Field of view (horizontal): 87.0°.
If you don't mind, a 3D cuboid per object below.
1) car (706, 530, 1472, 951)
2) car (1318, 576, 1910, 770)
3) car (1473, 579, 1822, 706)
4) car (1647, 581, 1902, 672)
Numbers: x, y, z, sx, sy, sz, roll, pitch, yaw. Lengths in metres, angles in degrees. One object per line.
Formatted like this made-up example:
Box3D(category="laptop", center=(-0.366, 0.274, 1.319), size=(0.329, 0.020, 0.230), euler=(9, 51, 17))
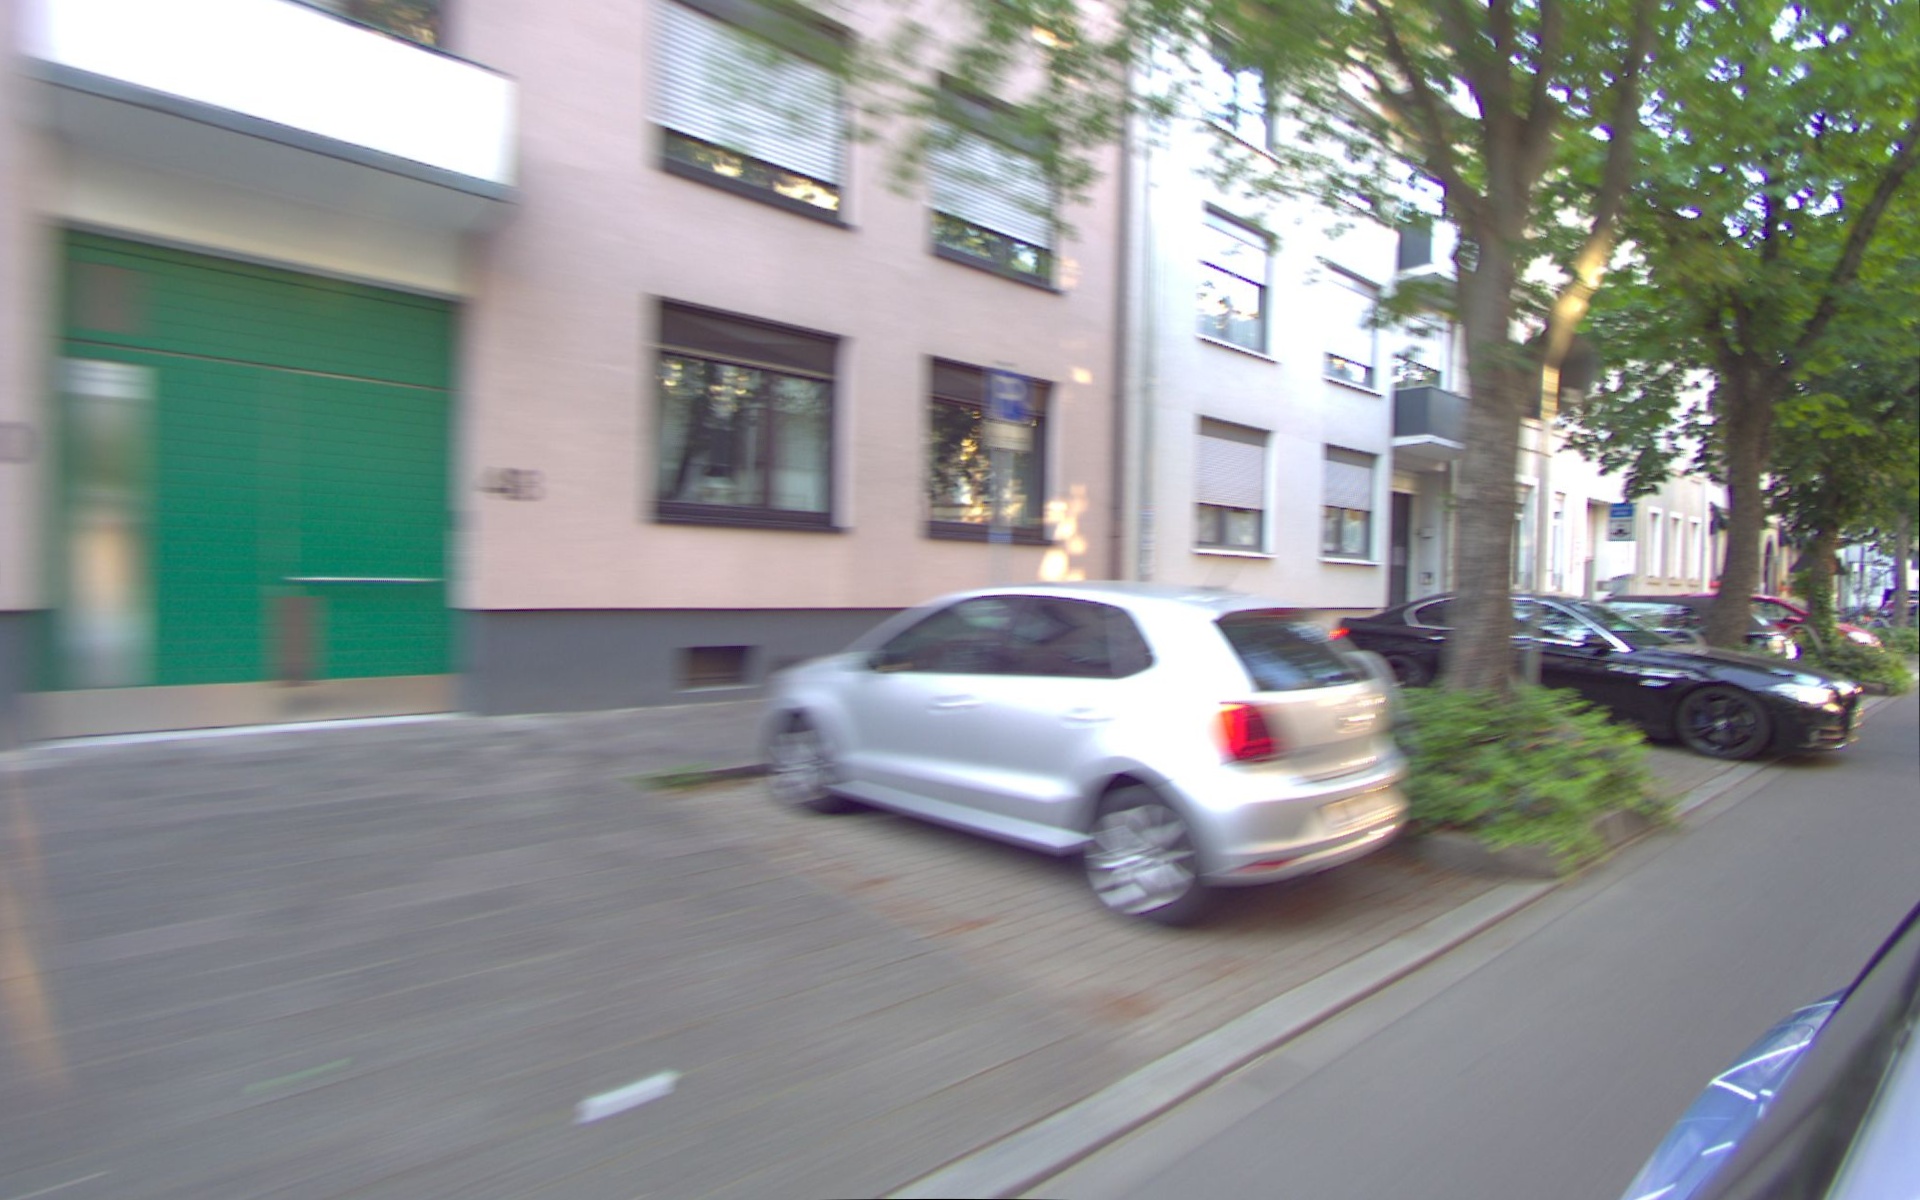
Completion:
Box3D(category="car", center=(0.408, 0.447, 5.716), size=(1.769, 1.509, 4.085), euler=(0, 2, -44))
Box3D(category="car", center=(6.518, 0.539, 10.634), size=(1.953, 1.516, 4.883), euler=(0, 2, -41))
Box3D(category="car", center=(9.612, 0.492, 14.334), size=(3.837, 1.428, 1.686), euler=(4, 3, 44))
Box3D(category="car", center=(16.000, 0.447, 19.997), size=(1.726, 1.572, 3.725), euler=(0, 1, -44))
